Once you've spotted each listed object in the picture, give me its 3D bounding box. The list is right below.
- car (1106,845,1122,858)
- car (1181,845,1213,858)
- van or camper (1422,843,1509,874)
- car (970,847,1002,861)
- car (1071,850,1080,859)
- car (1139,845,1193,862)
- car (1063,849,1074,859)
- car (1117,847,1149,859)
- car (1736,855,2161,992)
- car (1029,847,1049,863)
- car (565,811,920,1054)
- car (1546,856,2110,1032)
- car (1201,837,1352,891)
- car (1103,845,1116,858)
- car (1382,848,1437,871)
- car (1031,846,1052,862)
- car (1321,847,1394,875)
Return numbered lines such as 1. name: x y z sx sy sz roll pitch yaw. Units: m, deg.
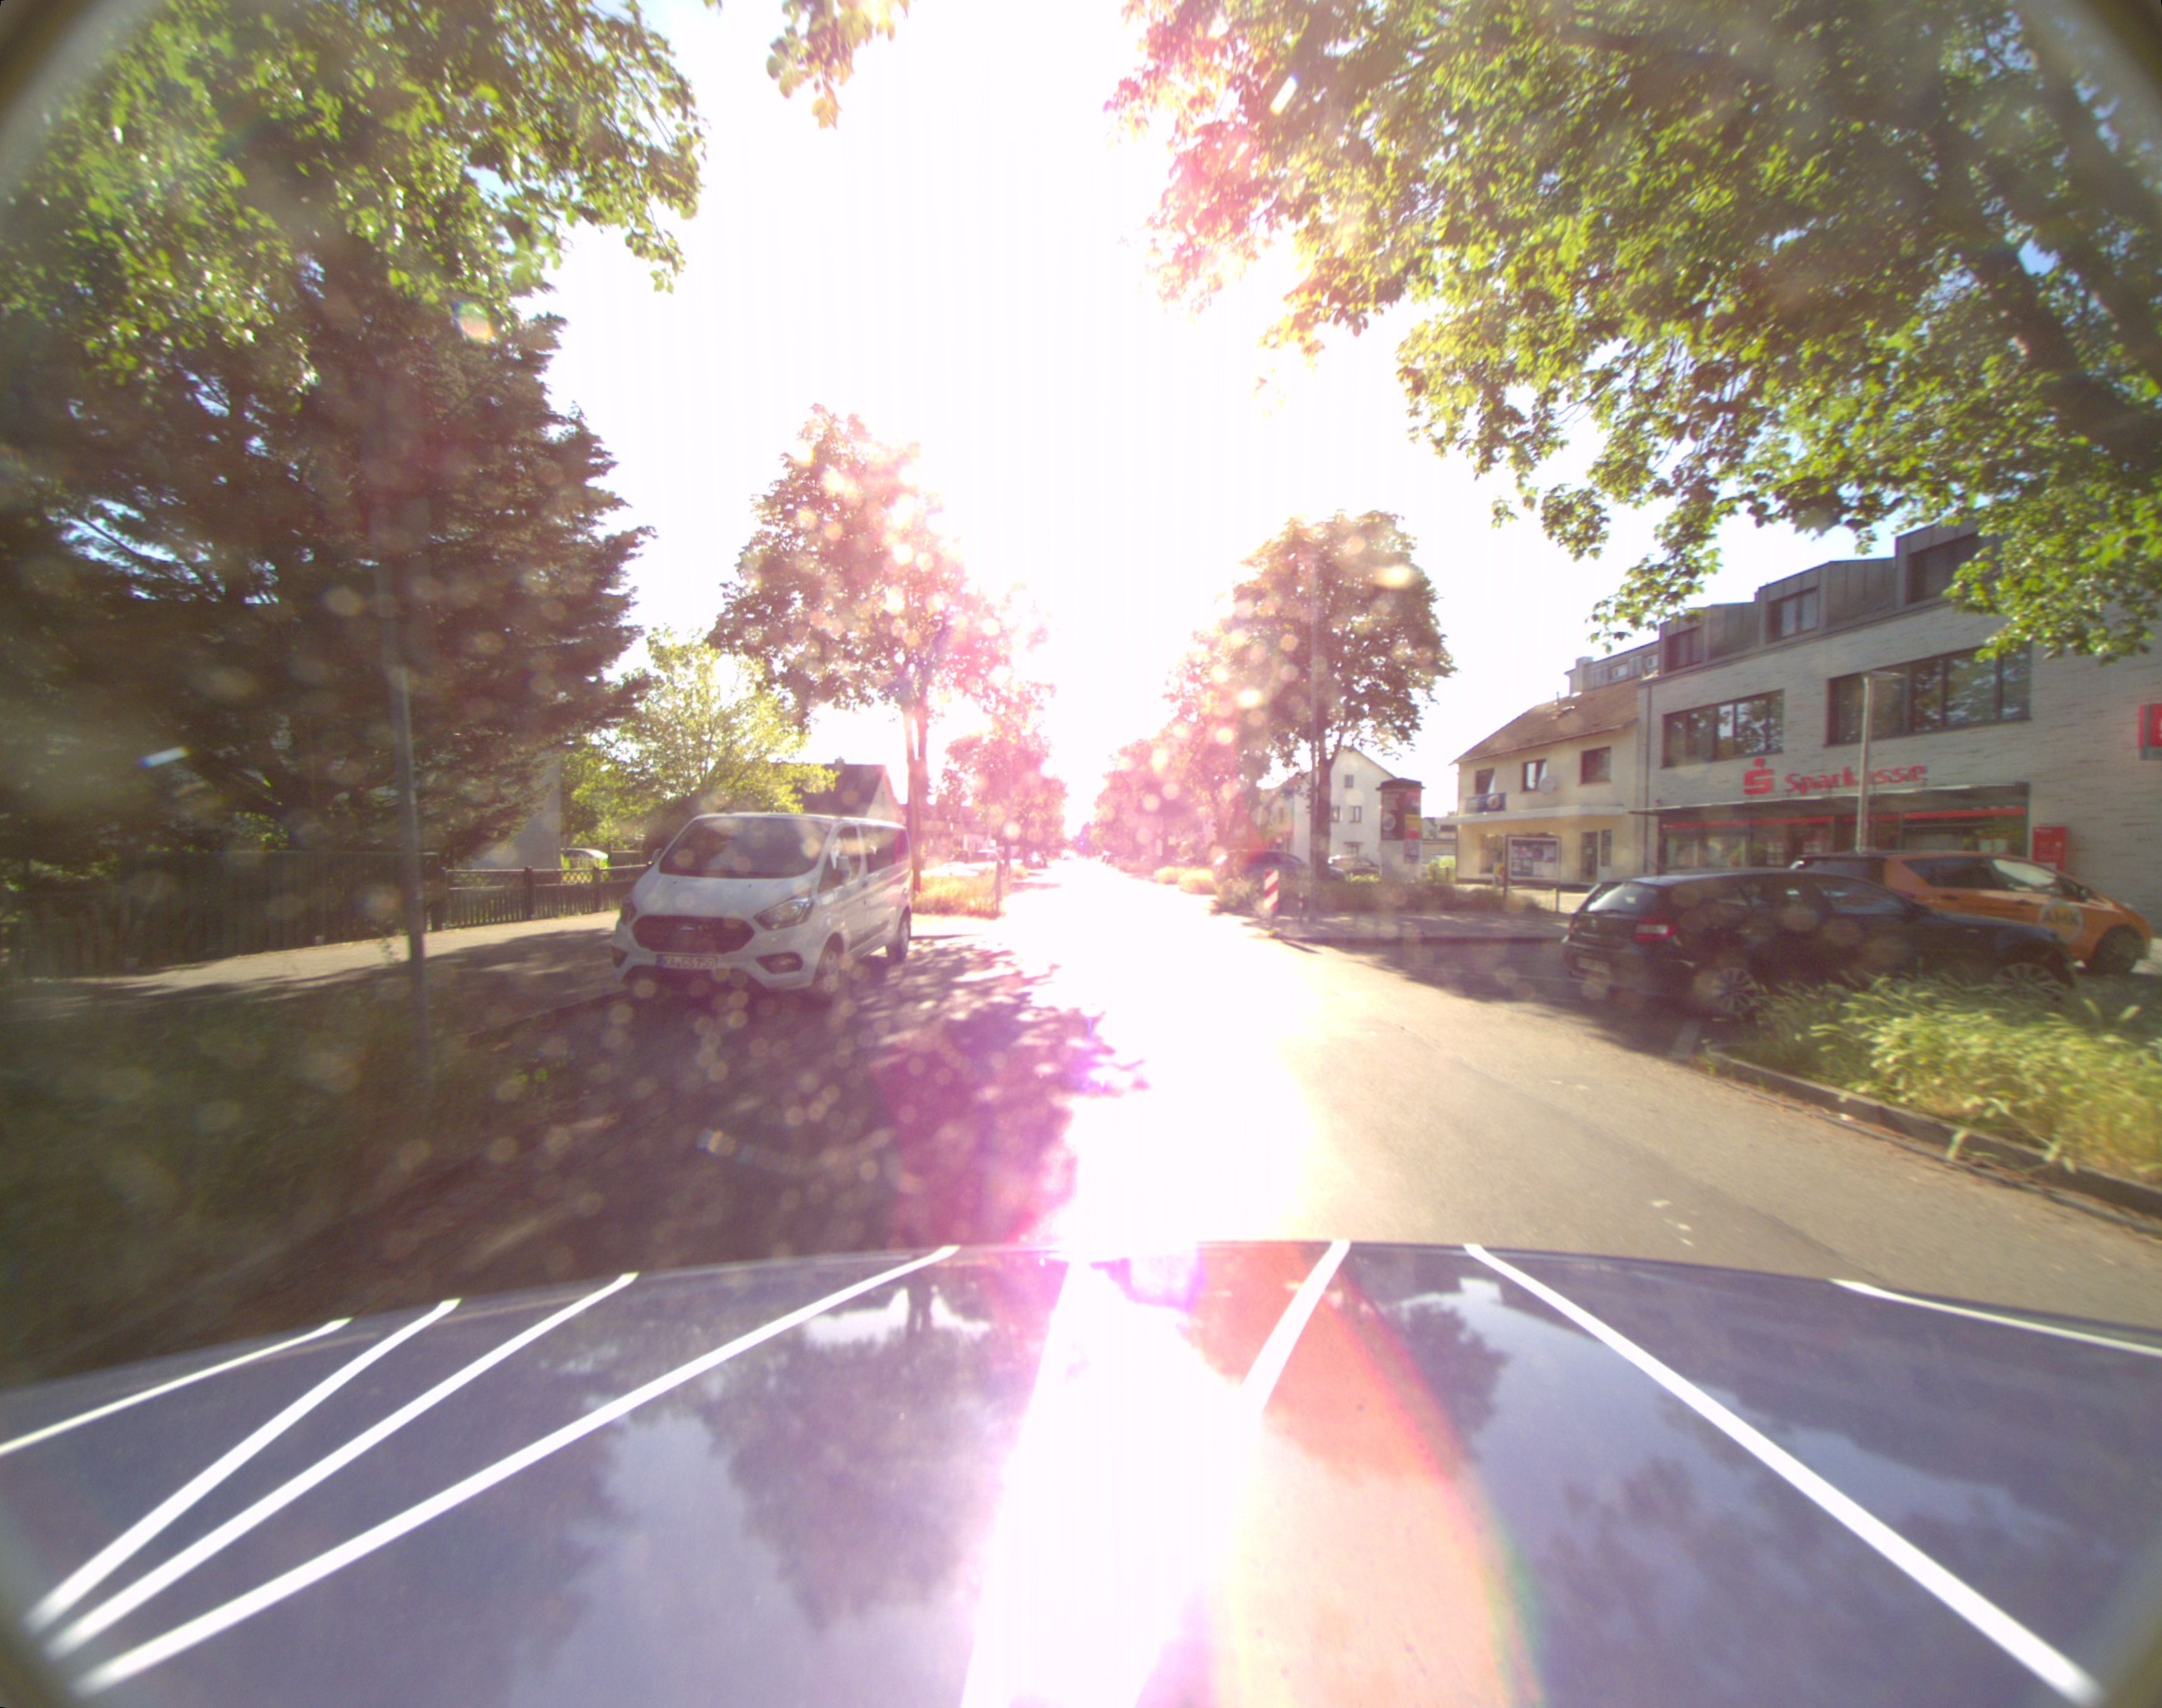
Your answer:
1. car: 4.270 -0.296 98.435 1.998 1.530 3.694 -3 1 1
2. car: 14.297 -0.322 93.680 3.773 1.557 1.691 2 2 2
3. van or camper: 25.353 0.277 50.199 4.685 2.002 1.999 1 1 -3
4. car: -11.337 -0.038 90.957 3.622 1.431 1.695 -3 2 -4
5. car: -1.066 0.160 146.546 1.539 1.583 3.458 -3 1 1
6. car: 7.368 -0.072 66.216 4.393 1.408 1.999 -1 1 -2
7. car: -2.008 0.007 124.464 1.539 1.583 3.458 -3 1 1
8. car: 6.376 -0.089 93.575 3.695 1.315 1.624 -2 1 -6
9. car: 11.518 0.839 10.228 3.999 1.534 1.869 -1 1 -6
10. car: -4.203 0.097 76.201 1.690 1.414 3.776 2 2 0
11. car: -3.462 0.623 9.171 1.999 2.002 5.194 -3 1 -2
12. car: 7.228 0.829 7.691 3.996 1.441 1.639 -2 2 2
13. car: 7.323 0.323 28.749 5.076 1.718 1.999 -3 2 -5
14. car: 4.036 -0.378 109.747 1.815 1.722 4.055 0 1 1
15. car: 25.430 0.410 59.027 1.877 1.520 4.664 0 3 -6
16. car: -4.264 -0.013 82.362 1.941 1.684 4.362 0 1 1
17. car: 18.039 0.443 49.660 4.000 1.629 1.998 1 1 -7
